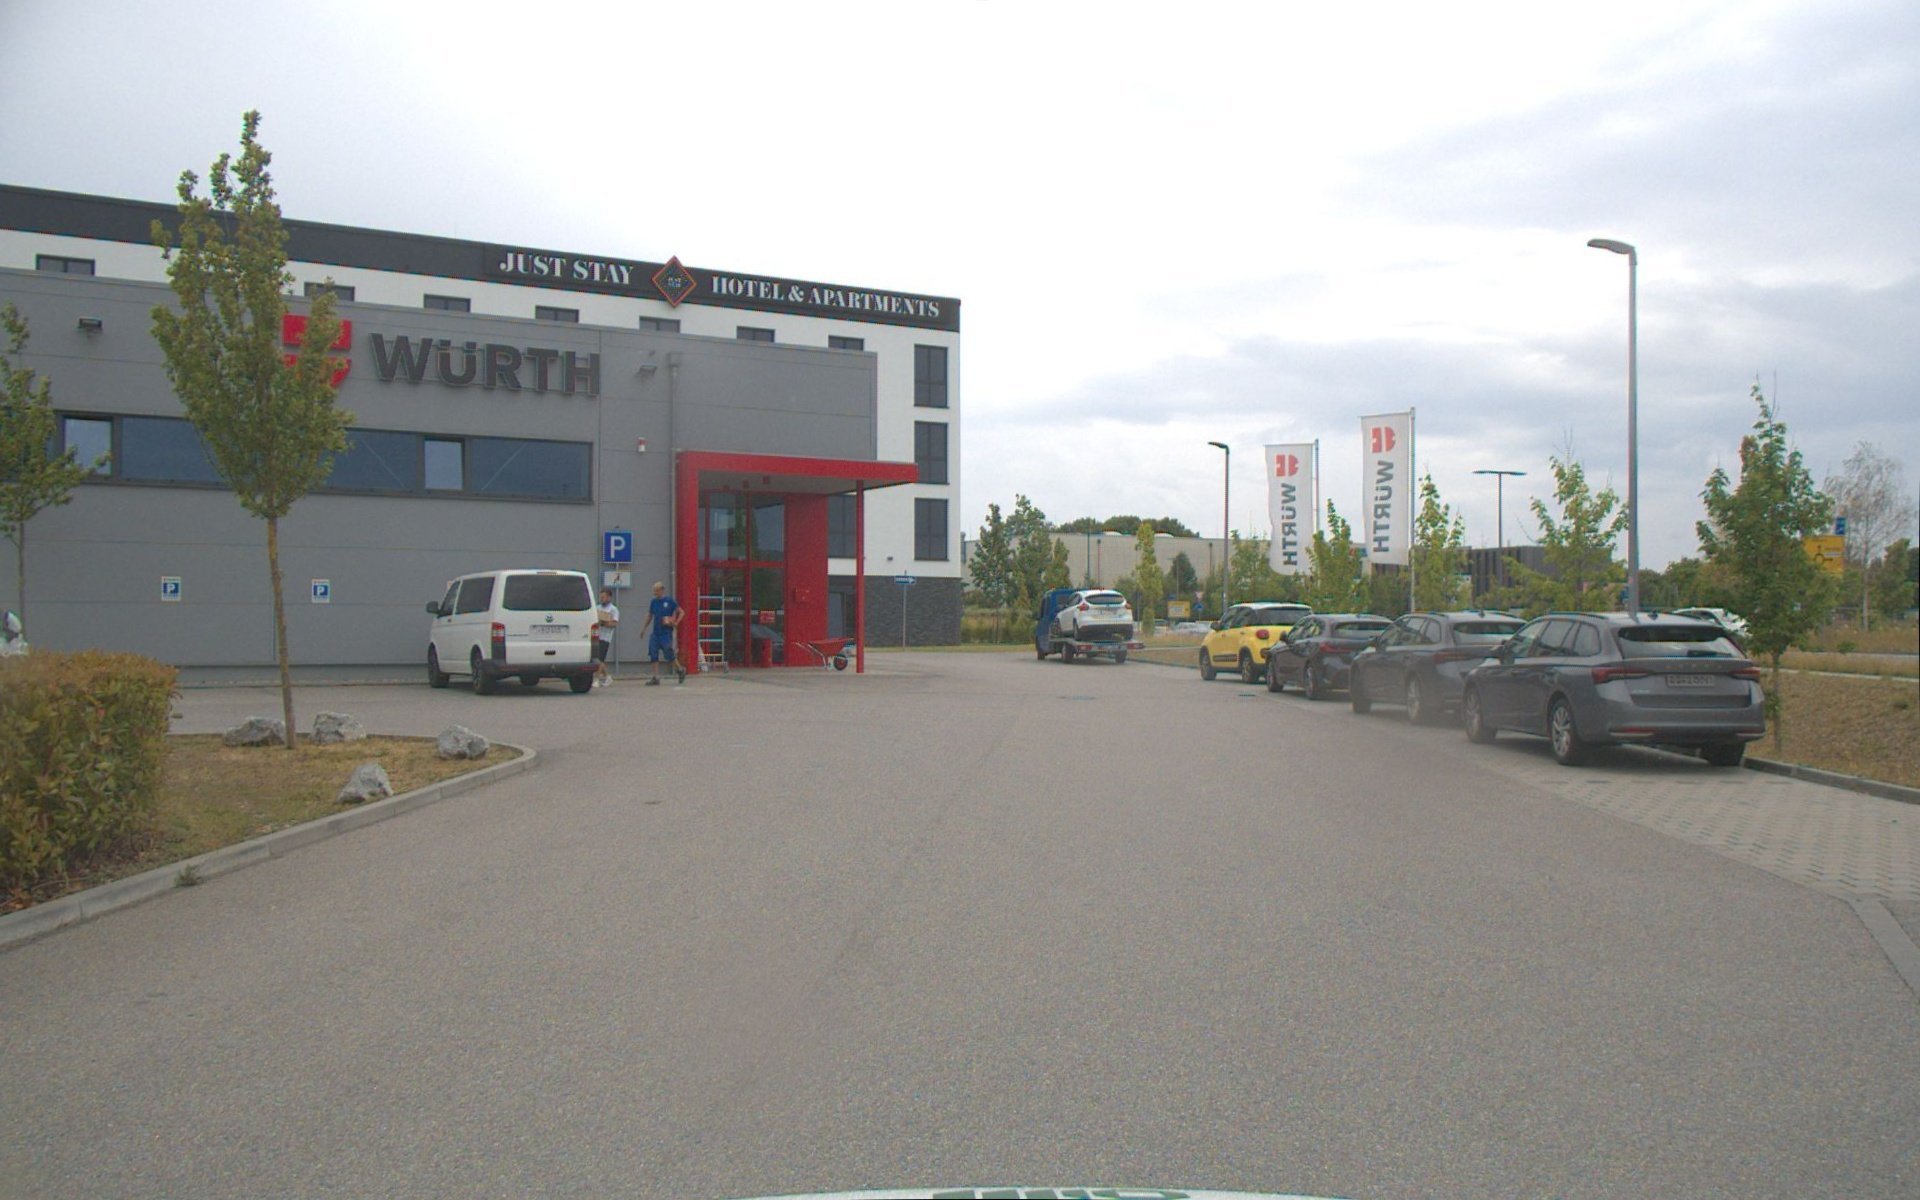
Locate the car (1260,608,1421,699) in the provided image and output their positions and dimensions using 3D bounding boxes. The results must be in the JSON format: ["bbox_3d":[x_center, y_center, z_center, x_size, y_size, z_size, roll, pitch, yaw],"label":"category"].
[{"bbox_3d":[6.647,0.892,29.294,1.716,1.495,4.104,0,0,-3],"label":"car"}]

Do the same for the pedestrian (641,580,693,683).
[{"bbox_3d":[-5.317,0.565,30.069,0.662,1.834,0.881,0,-1,12],"label":"pedestrian"}]

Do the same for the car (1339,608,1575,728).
[{"bbox_3d":[6.753,0.873,22.979,1.716,1.495,4.473,0,0,-3],"label":"car"}]

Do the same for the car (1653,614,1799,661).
[{"bbox_3d":[24.862,1.188,53.853,1.735,1.419,4.535,0,0,-18],"label":"car"}]

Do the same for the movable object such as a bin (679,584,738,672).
[{"bbox_3d":[-5.058,0.547,33.227,0.900,1.701,0.736,-3,1,-29],"label":"movable object such as a bin"}]

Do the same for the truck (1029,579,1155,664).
[{"bbox_3d":[4.022,0.773,52.251,2.288,2.449,7.880,1,-2,-8],"label":"truck"}]

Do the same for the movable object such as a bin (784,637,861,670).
[{"bbox_3d":[-3.068,1.190,36.864,1.468,0.716,0.958,1,-1,-24],"label":"movable object such as a bin"}]

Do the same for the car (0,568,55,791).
[{"bbox_3d":[-9.028,0.658,14.088,1.968,1.679,4.541,-1,0,-25],"label":"car"}]

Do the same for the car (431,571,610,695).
[{"bbox_3d":[-7.472,0.541,27.845,2.032,1.888,4.023,-1,0,-28],"label":"car"}]

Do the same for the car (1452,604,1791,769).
[{"bbox_3d":[6.707,0.807,17.324,1.716,1.495,4.475,0,0,-1],"label":"car"}]

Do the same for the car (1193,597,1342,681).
[{"bbox_3d":[6.582,0.838,35.788,1.823,1.679,3.989,1,-1,-11],"label":"car"}]

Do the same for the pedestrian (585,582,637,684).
[{"bbox_3d":[-6.219,0.582,29.516,0.610,1.782,0.906,0,-1,11],"label":"pedestrian"}]
